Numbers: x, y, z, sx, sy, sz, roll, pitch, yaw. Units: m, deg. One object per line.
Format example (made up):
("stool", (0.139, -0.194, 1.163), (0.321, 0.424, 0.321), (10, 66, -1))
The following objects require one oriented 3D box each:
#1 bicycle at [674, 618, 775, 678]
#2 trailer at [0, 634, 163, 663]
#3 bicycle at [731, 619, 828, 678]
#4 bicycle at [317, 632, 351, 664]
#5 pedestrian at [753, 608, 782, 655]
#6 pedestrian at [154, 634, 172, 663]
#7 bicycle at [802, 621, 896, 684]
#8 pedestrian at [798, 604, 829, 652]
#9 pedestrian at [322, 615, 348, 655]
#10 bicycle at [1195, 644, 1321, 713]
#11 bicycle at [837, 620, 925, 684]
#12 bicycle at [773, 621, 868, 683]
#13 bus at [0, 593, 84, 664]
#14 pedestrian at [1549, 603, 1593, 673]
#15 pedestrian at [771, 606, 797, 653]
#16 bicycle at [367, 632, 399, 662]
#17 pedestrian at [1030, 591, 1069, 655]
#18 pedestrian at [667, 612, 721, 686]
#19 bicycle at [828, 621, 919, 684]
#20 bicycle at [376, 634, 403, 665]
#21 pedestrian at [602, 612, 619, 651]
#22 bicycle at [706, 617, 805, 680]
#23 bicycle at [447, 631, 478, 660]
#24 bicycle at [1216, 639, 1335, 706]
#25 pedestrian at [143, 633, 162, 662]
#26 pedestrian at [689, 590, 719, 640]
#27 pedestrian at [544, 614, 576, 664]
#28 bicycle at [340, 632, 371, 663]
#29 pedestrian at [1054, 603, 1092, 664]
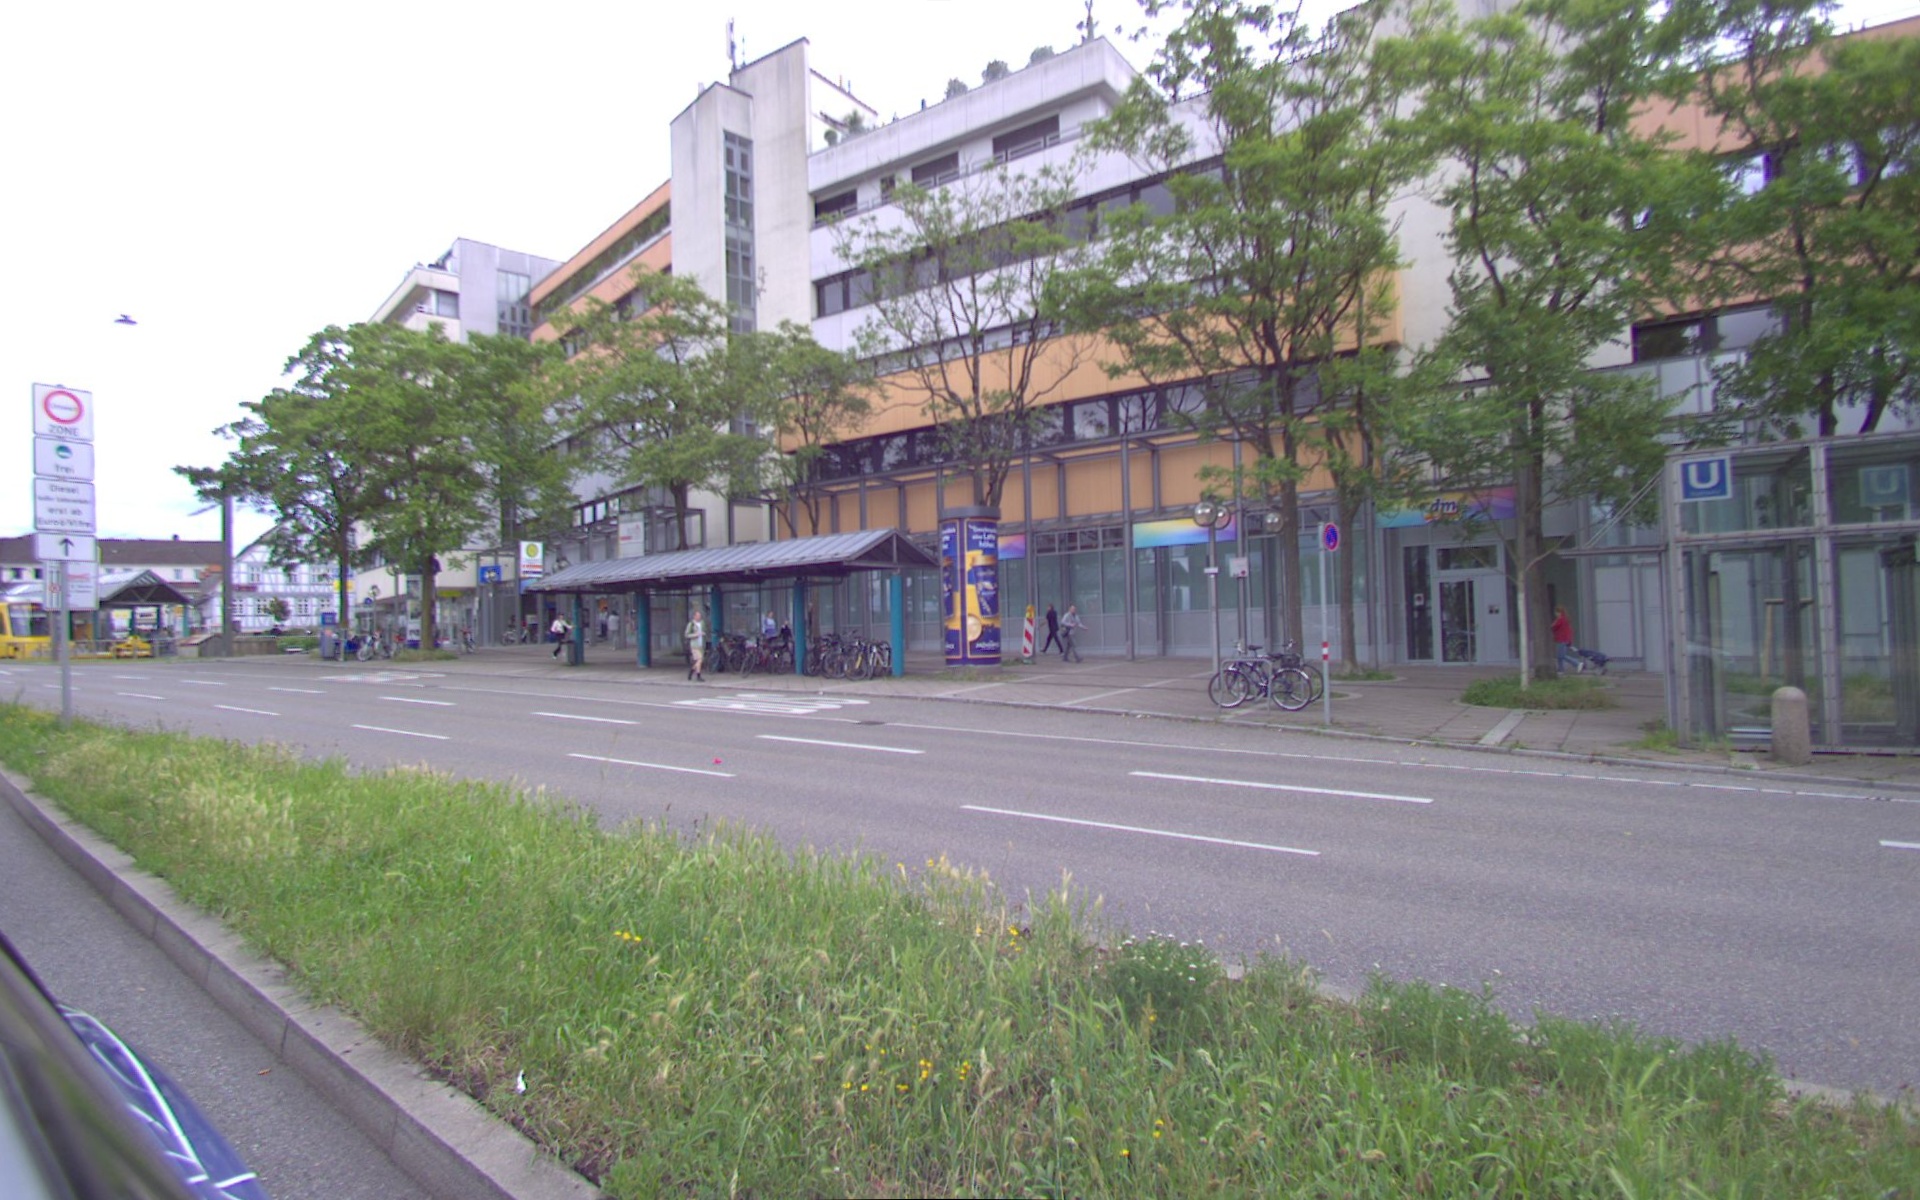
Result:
("bicycle", (-6.574, 1.318, 28.438), (0.969, 1.518, 2.877), (-2, 0, 32))
("trailer", (-46.123, 2.535, 52.677), (12.072, 1.343, 2.822), (-2, -2, 29))
("bicycle", (-4.826, 1.277, 27.292), (0.809, 1.518, 2.875), (-2, -2, 34))
("bicycle", (-24.375, 1.866, 39.440), (0.594, 1.170, 1.971), (-2, 0, -17))
("pedestrian", (-6.689, 1.092, 35.135), (0.705, 1.595, 0.660), (-2, 0, 35))
("pedestrian", (-44.282, 2.675, 56.246), (0.618, 1.585, 0.594), (-2, -2, 30))
("bicycle", (-2.813, 1.310, 26.078), (0.776, 1.518, 2.876), (-2, -2, 32))
("pedestrian", (-5.459, 1.051, 37.760), (0.788, 1.729, 0.763), (-2, 0, 35))
("pedestrian", (-29.974, 1.689, 48.548), (0.871, 1.891, 0.738), (-2, -2, 32))
("bicycle", (5.076, 1.318, 17.271), (1.926, 1.092, 0.825), (-2, -2, 27))
("bicycle", (-1.944, 1.270, 25.479), (0.597, 1.518, 2.876), (-2, -2, 32))
("bicycle", (-3.612, 1.329, 26.549), (0.803, 1.518, 2.876), (-2, -2, 32))
("bus", (-59.699, 1.893, 61.127), (19.256, 3.889, 3.851), (-2, -2, 29))
("pedestrian", (14.078, 0.873, 23.346), (0.822, 1.598, 0.629), (-1, -2, 31))
("pedestrian", (-6.213, 1.030, 35.753), (0.621, 1.612, 0.627), (-2, 0, 35))
("bicycle", (-23.064, 1.884, 40.461), (1.966, 1.170, 0.596), (-3, -3, 44))
("pedestrian", (2.857, 0.736, 32.319), (0.932, 2.029, 0.888), (-1, -2, 35))
("pedestrian", (-6.833, 1.248, 25.993), (1.212, 1.836, 0.697), (-1, 0, 38))
("bicycle", (-2.140, 1.285, 25.614), (0.698, 1.518, 2.876), (-2, -2, 32))
("bicycle", (-22.151, 1.899, 39.309), (0.594, 1.170, 1.695), (0, -2, -19))
("pedestrian", (-14.977, 1.332, 43.332), (0.623, 1.612, 0.624), (-2, 0, -18))
("bicycle", (-5.567, 1.290, 27.821), (0.888, 1.518, 2.877), (-2, 1, 32))
("bicycle", (-20.679, 1.893, 42.090), (0.663, 1.170, 2.023), (-1, -2, -11))
("bicycle", (5.664, 1.280, 18.205), (1.946, 1.145, 0.709), (-2, -2, 26))
("pedestrian", (-44.049, 2.590, 55.201), (0.618, 1.585, 0.594), (-2, -2, 30))
("pedestrian", (-8.999, 0.524, 35.552), (0.763, 1.729, 0.789), (-2, 0, -32))
("pedestrian", (-14.195, 1.384, 35.922), (0.705, 1.725, 0.768), (-2, 0, 35))
("bicycle", (-23.504, 1.834, 39.395), (0.594, 1.170, 1.971), (0, -2, -18))
("pedestrian", (3.281, 0.958, 29.307), (0.787, 1.729, 0.764), (-2, 0, 32))
